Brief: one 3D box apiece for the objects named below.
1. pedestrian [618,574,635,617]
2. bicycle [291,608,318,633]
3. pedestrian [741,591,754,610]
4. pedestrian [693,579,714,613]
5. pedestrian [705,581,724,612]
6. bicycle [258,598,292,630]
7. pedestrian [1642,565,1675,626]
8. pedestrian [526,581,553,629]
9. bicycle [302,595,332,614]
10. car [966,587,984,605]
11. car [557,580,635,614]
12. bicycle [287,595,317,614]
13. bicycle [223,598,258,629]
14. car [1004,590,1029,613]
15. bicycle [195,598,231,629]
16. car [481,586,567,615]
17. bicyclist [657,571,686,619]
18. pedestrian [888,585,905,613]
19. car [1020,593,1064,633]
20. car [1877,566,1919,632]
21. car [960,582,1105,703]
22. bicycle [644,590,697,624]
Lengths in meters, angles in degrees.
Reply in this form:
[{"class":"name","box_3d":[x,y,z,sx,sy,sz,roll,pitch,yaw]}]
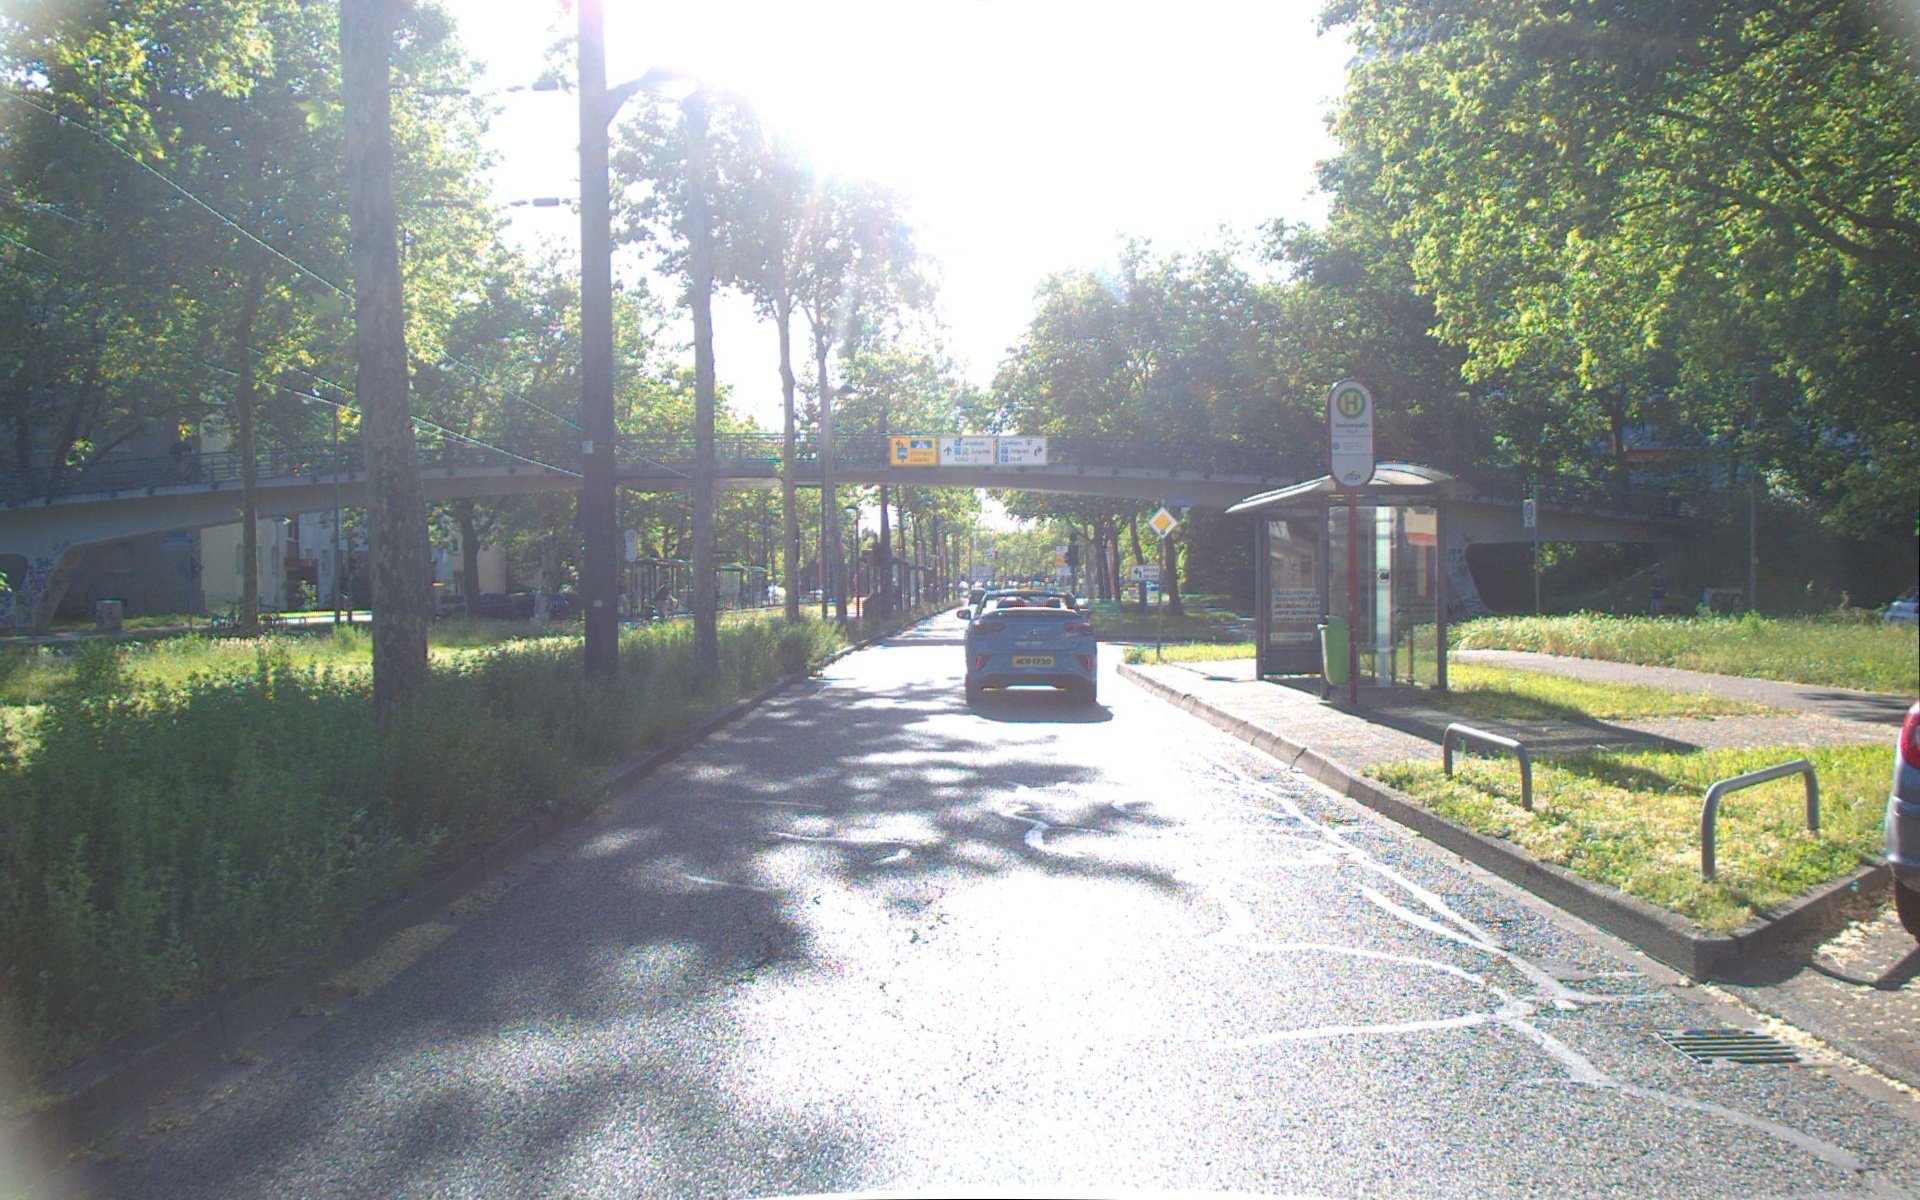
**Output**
[{"class":"pedestrian","box_3d":[-13.923,-0.182,69.044,0.499,1.801,0.477,1,0,-40]},{"class":"bicycle","box_3d":[-22.130,0.683,55.813,0.425,0.792,1.174,1,1,1]},{"class":"pedestrian","box_3d":[-13.519,0.010,105.279,0.680,1.147,0.662,-3,0,2]},{"class":"pedestrian","box_3d":[-12.872,-0.209,83.080,0.699,1.663,0.730,-2,0,27]},{"class":"pedestrian","box_3d":[-12.140,-0.174,81.890,0.667,1.540,0.645,-2,0,18]},{"class":"bicycle","box_3d":[-23.359,0.471,56.433,0.425,1.026,1.687,1,1,1]},{"class":"pedestrian","box_3d":[21.026,-0.150,49.805,0.646,1.808,0.738,-1,1,-9]},{"class":"pedestrian","box_3d":[-15.142,0.167,59.603,0.710,1.703,1.048,1,0,-3]},{"class":"bicycle","box_3d":[-34.835,0.247,89.648,0.681,0.944,2.595,1,2,-2]},{"class":"car","box_3d":[1.430,-0.368,155.667,1.675,1.631,3.350,0,0,0]},{"class":"car","box_3d":[-22.975,-0.170,104.546,4.454,2.099,1.875,0,1,-38]},{"class":"bicycle","box_3d":[-35.657,0.236,89.658,0.681,0.944,2.595,1,2,-2]},{"class":"bicycle","box_3d":[-24.762,0.453,56.921,0.425,1.026,1.687,1,1,1]},{"class":"car","box_3d":[4.002,0.098,117.212,1.605,1.520,3.503,1,1,0]},{"class":"bicycle","box_3d":[-25.175,0.447,55.790,0.425,1.026,1.687,1,1,1]},{"class":"car","box_3d":[-23.332,0.041,88.589,4.157,1.453,1.677,0,1,-38]},{"class":"bicyclist","box_3d":[-10.372,-0.184,59.390,0.935,1.660,0.814,1,1,-6]},{"class":"pedestrian","box_3d":[-2.960,-0.032,76.834,0.719,1.274,0.587,1,0,-5]},{"class":"car","box_3d":[3.882,0.589,79.127,1.941,1.823,4.614,1,0,1]},{"class":"car","box_3d":[24.437,-0.044,39.940,3.654,1.521,1.709,0,2,-3]},{"class":"car","box_3d":[0.935,0.529,23.280,1.740,1.509,4.099,1,1,-1]},{"class":"bicycle","box_3d":[-10.376,0.253,59.392,1.796,1.167,0.814,1,1,-7]}]
